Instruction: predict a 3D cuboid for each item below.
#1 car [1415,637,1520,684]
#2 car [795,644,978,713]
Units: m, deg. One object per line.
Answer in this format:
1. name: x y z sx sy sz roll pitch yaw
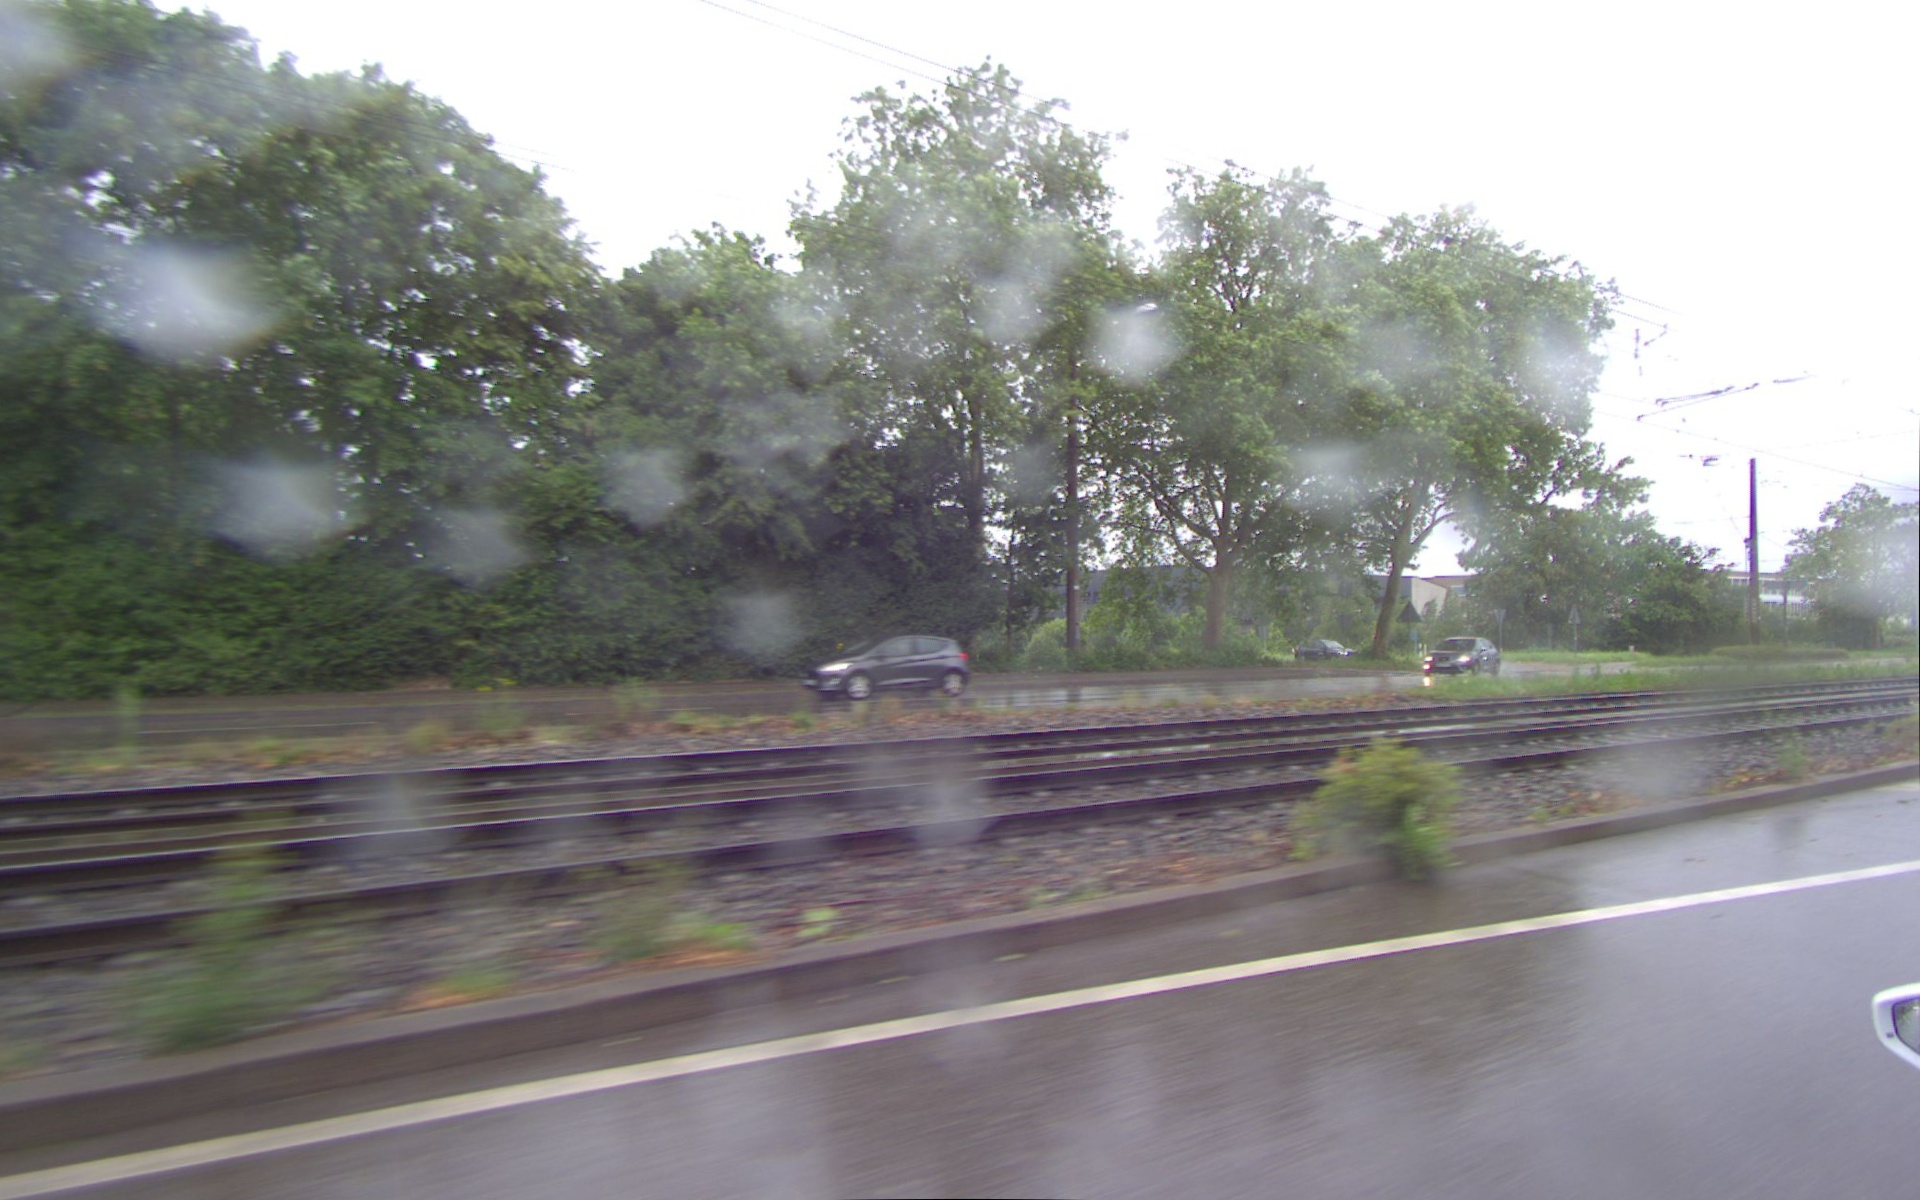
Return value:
1. car: 18.557 2.186 36.654 4.004 1.589 1.641 2 -1 -33
2. car: -1.671 1.764 23.275 3.897 1.424 1.673 2 -1 -33
